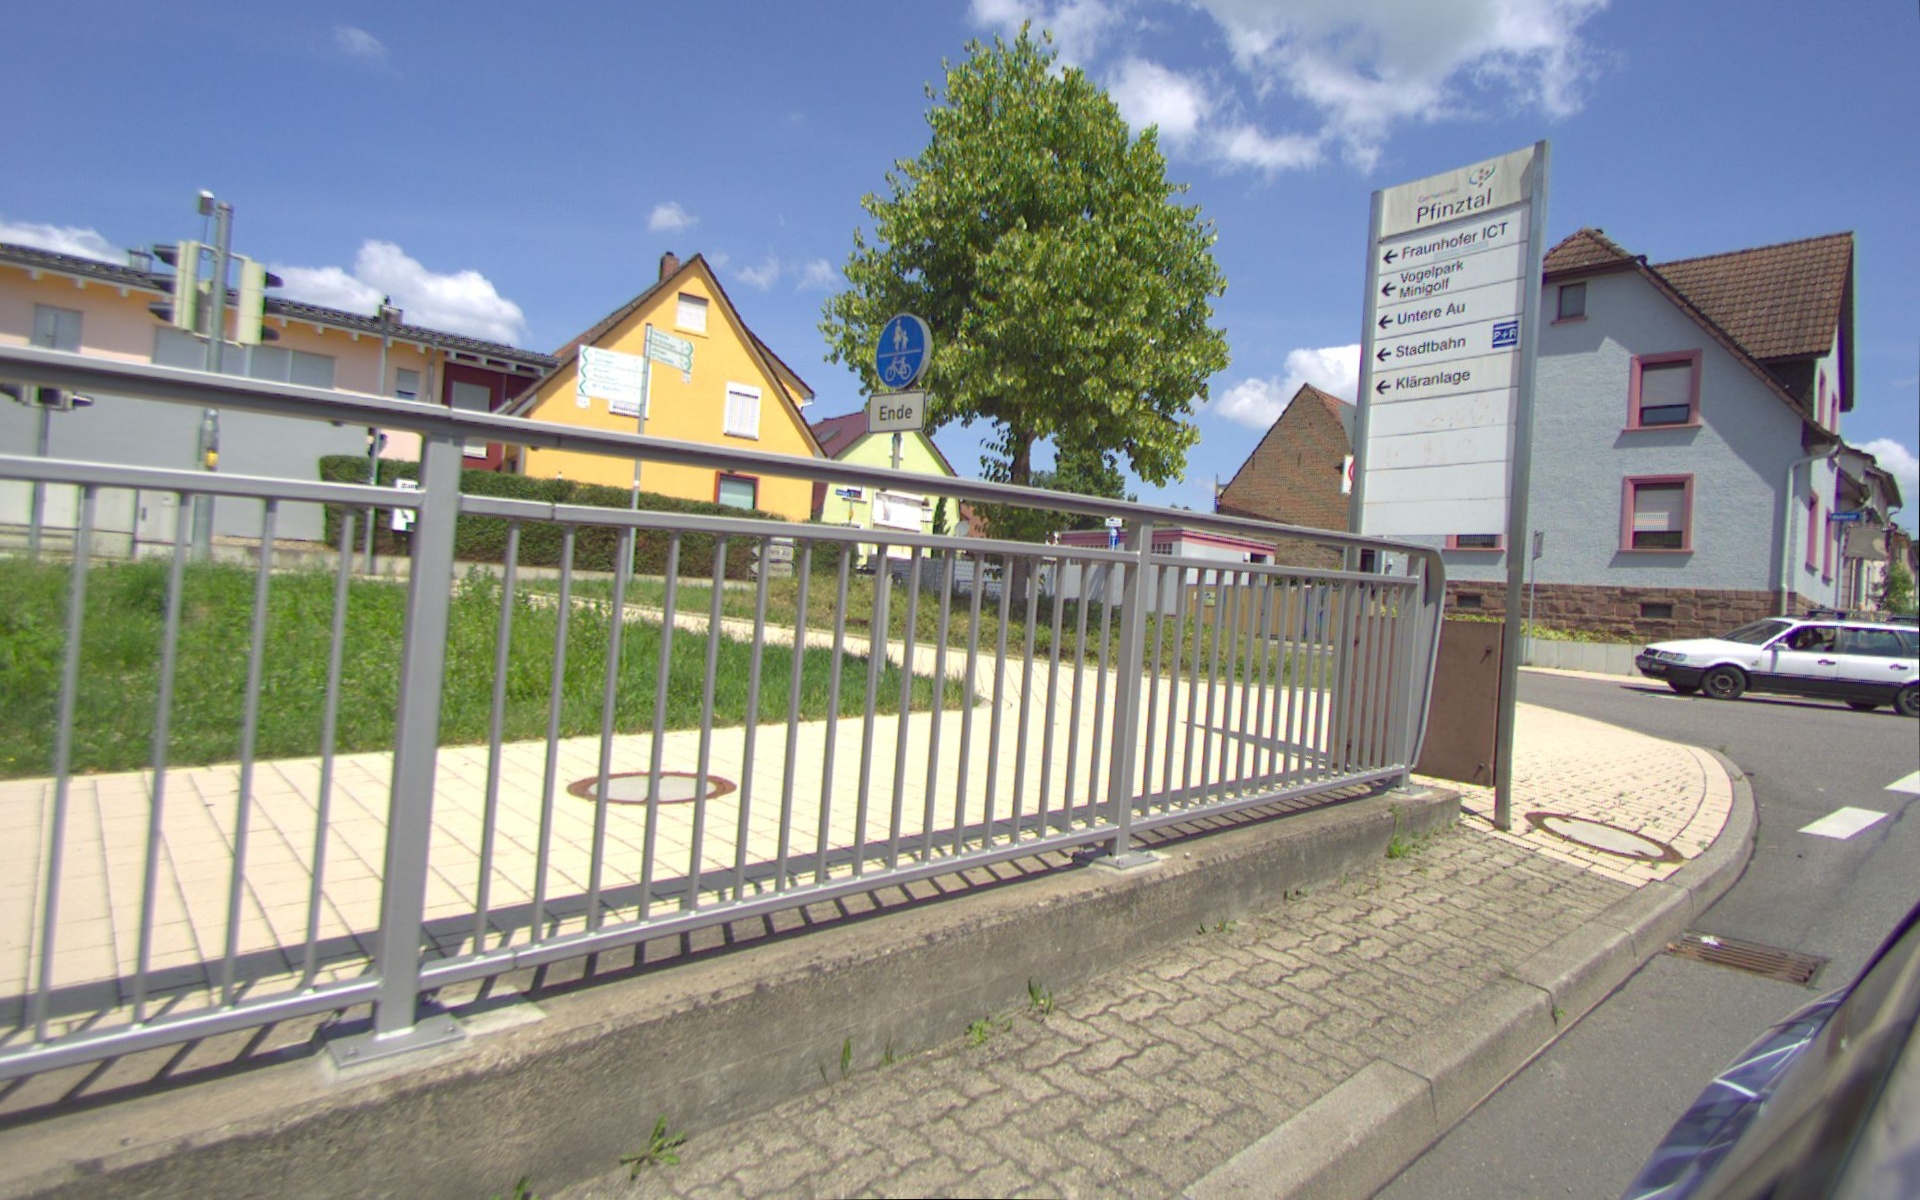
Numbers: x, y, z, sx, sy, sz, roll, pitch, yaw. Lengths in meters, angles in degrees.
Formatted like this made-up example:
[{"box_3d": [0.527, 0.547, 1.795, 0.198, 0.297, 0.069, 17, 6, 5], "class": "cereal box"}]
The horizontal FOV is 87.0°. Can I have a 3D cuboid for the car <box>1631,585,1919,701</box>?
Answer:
[{"box_3d": [13.981, 0.718, 16.480, 4.769, 1.665, 1.671, 2, -3, 18], "class": "car"}]

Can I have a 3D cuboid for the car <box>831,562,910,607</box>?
[{"box_3d": [-3.971, -0.689, 44.381, 1.613, 1.851, 3.999, 3, -1, -36], "class": "car"}]
